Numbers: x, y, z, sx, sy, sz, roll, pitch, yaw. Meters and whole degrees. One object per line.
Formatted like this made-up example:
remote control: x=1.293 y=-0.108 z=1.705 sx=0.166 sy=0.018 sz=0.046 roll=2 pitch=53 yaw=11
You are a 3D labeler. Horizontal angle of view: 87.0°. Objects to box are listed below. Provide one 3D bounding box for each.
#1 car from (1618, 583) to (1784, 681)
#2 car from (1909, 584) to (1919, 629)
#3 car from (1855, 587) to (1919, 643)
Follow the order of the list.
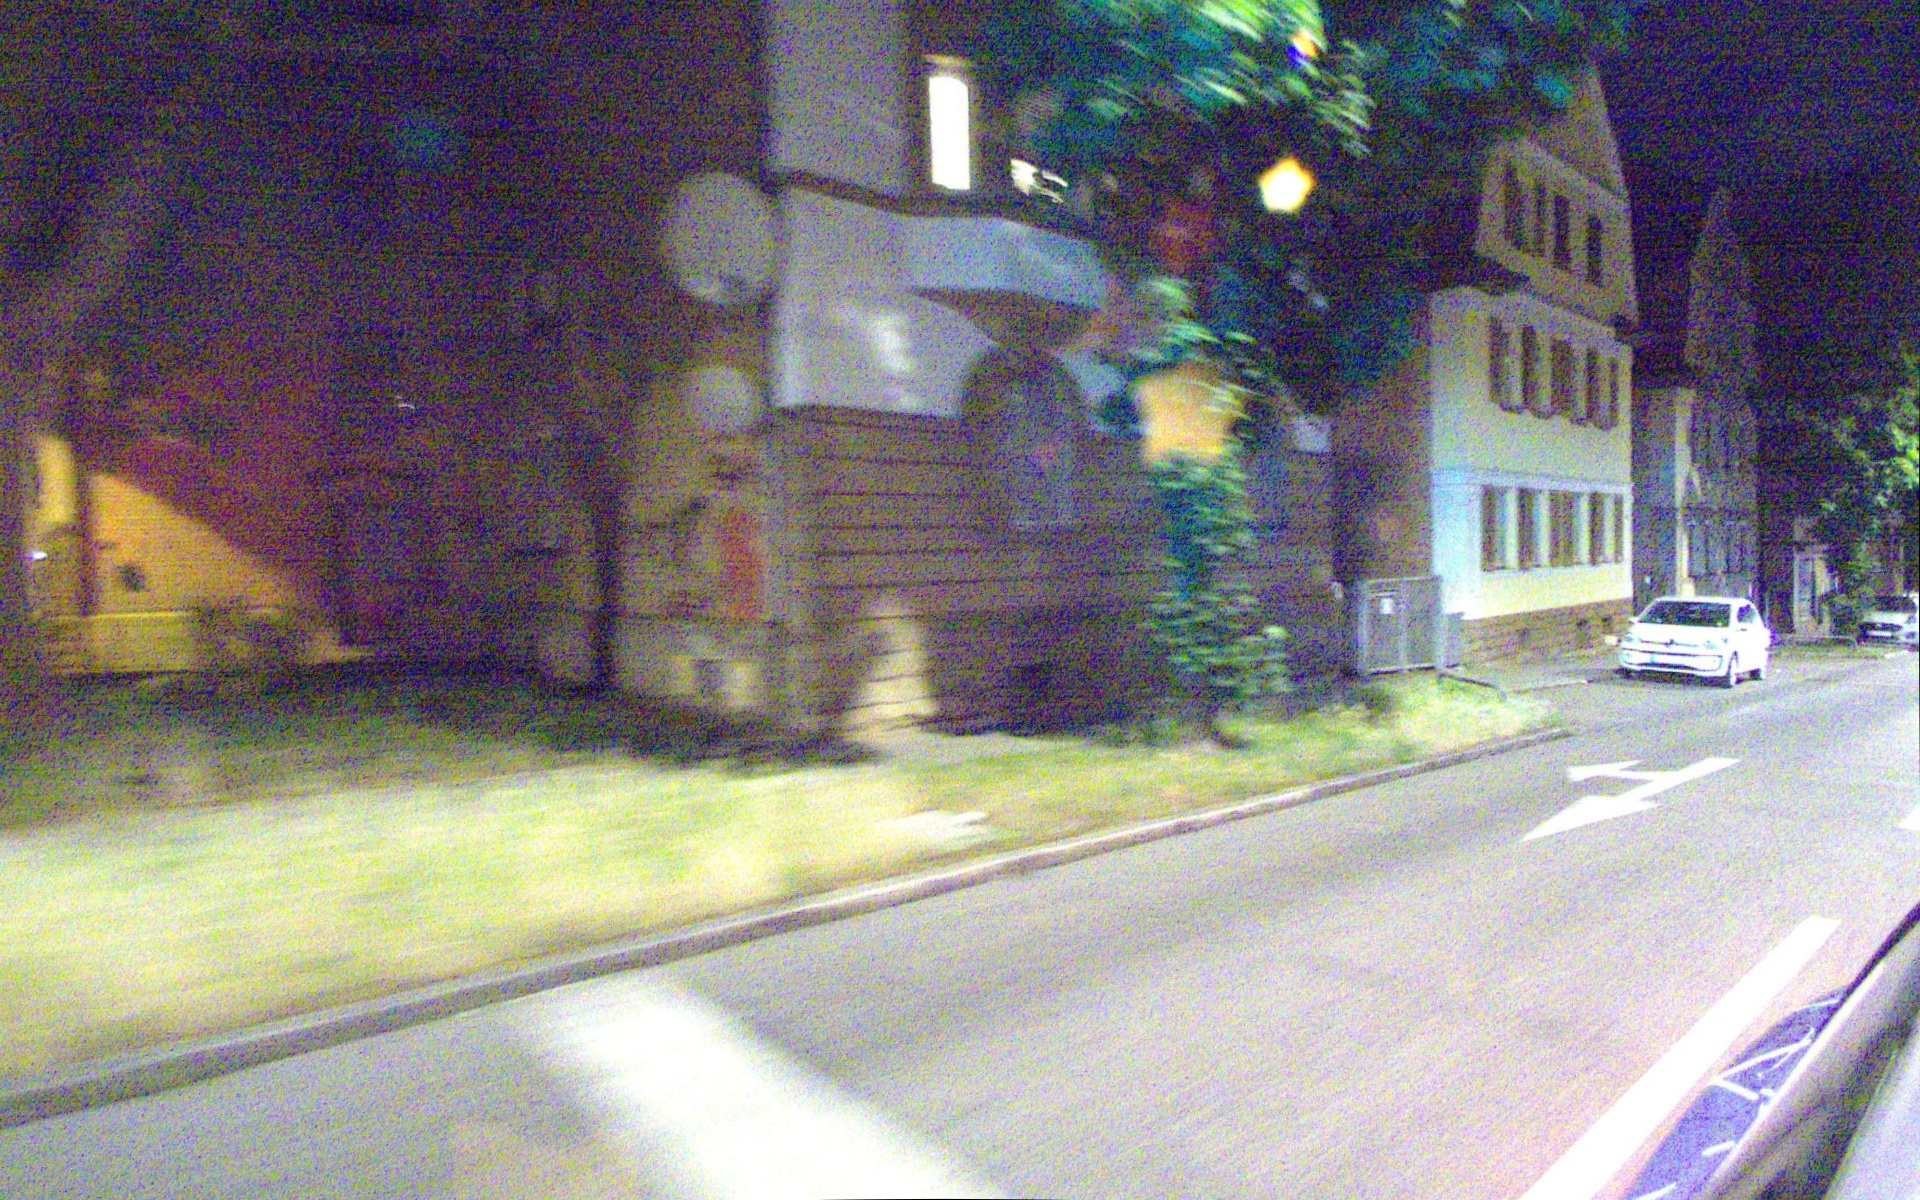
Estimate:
car: x=13.126 y=0.493 z=17.872 sx=3.425 sy=1.527 sz=1.610 roll=0 pitch=2 yaw=-41
car: x=37.509 y=0.218 z=38.362 sx=4.107 sy=1.673 sz=1.850 roll=0 pitch=0 yaw=-41
car: x=27.551 y=0.402 z=29.546 sx=3.824 sy=1.516 sz=1.740 roll=-1 pitch=1 yaw=-42
